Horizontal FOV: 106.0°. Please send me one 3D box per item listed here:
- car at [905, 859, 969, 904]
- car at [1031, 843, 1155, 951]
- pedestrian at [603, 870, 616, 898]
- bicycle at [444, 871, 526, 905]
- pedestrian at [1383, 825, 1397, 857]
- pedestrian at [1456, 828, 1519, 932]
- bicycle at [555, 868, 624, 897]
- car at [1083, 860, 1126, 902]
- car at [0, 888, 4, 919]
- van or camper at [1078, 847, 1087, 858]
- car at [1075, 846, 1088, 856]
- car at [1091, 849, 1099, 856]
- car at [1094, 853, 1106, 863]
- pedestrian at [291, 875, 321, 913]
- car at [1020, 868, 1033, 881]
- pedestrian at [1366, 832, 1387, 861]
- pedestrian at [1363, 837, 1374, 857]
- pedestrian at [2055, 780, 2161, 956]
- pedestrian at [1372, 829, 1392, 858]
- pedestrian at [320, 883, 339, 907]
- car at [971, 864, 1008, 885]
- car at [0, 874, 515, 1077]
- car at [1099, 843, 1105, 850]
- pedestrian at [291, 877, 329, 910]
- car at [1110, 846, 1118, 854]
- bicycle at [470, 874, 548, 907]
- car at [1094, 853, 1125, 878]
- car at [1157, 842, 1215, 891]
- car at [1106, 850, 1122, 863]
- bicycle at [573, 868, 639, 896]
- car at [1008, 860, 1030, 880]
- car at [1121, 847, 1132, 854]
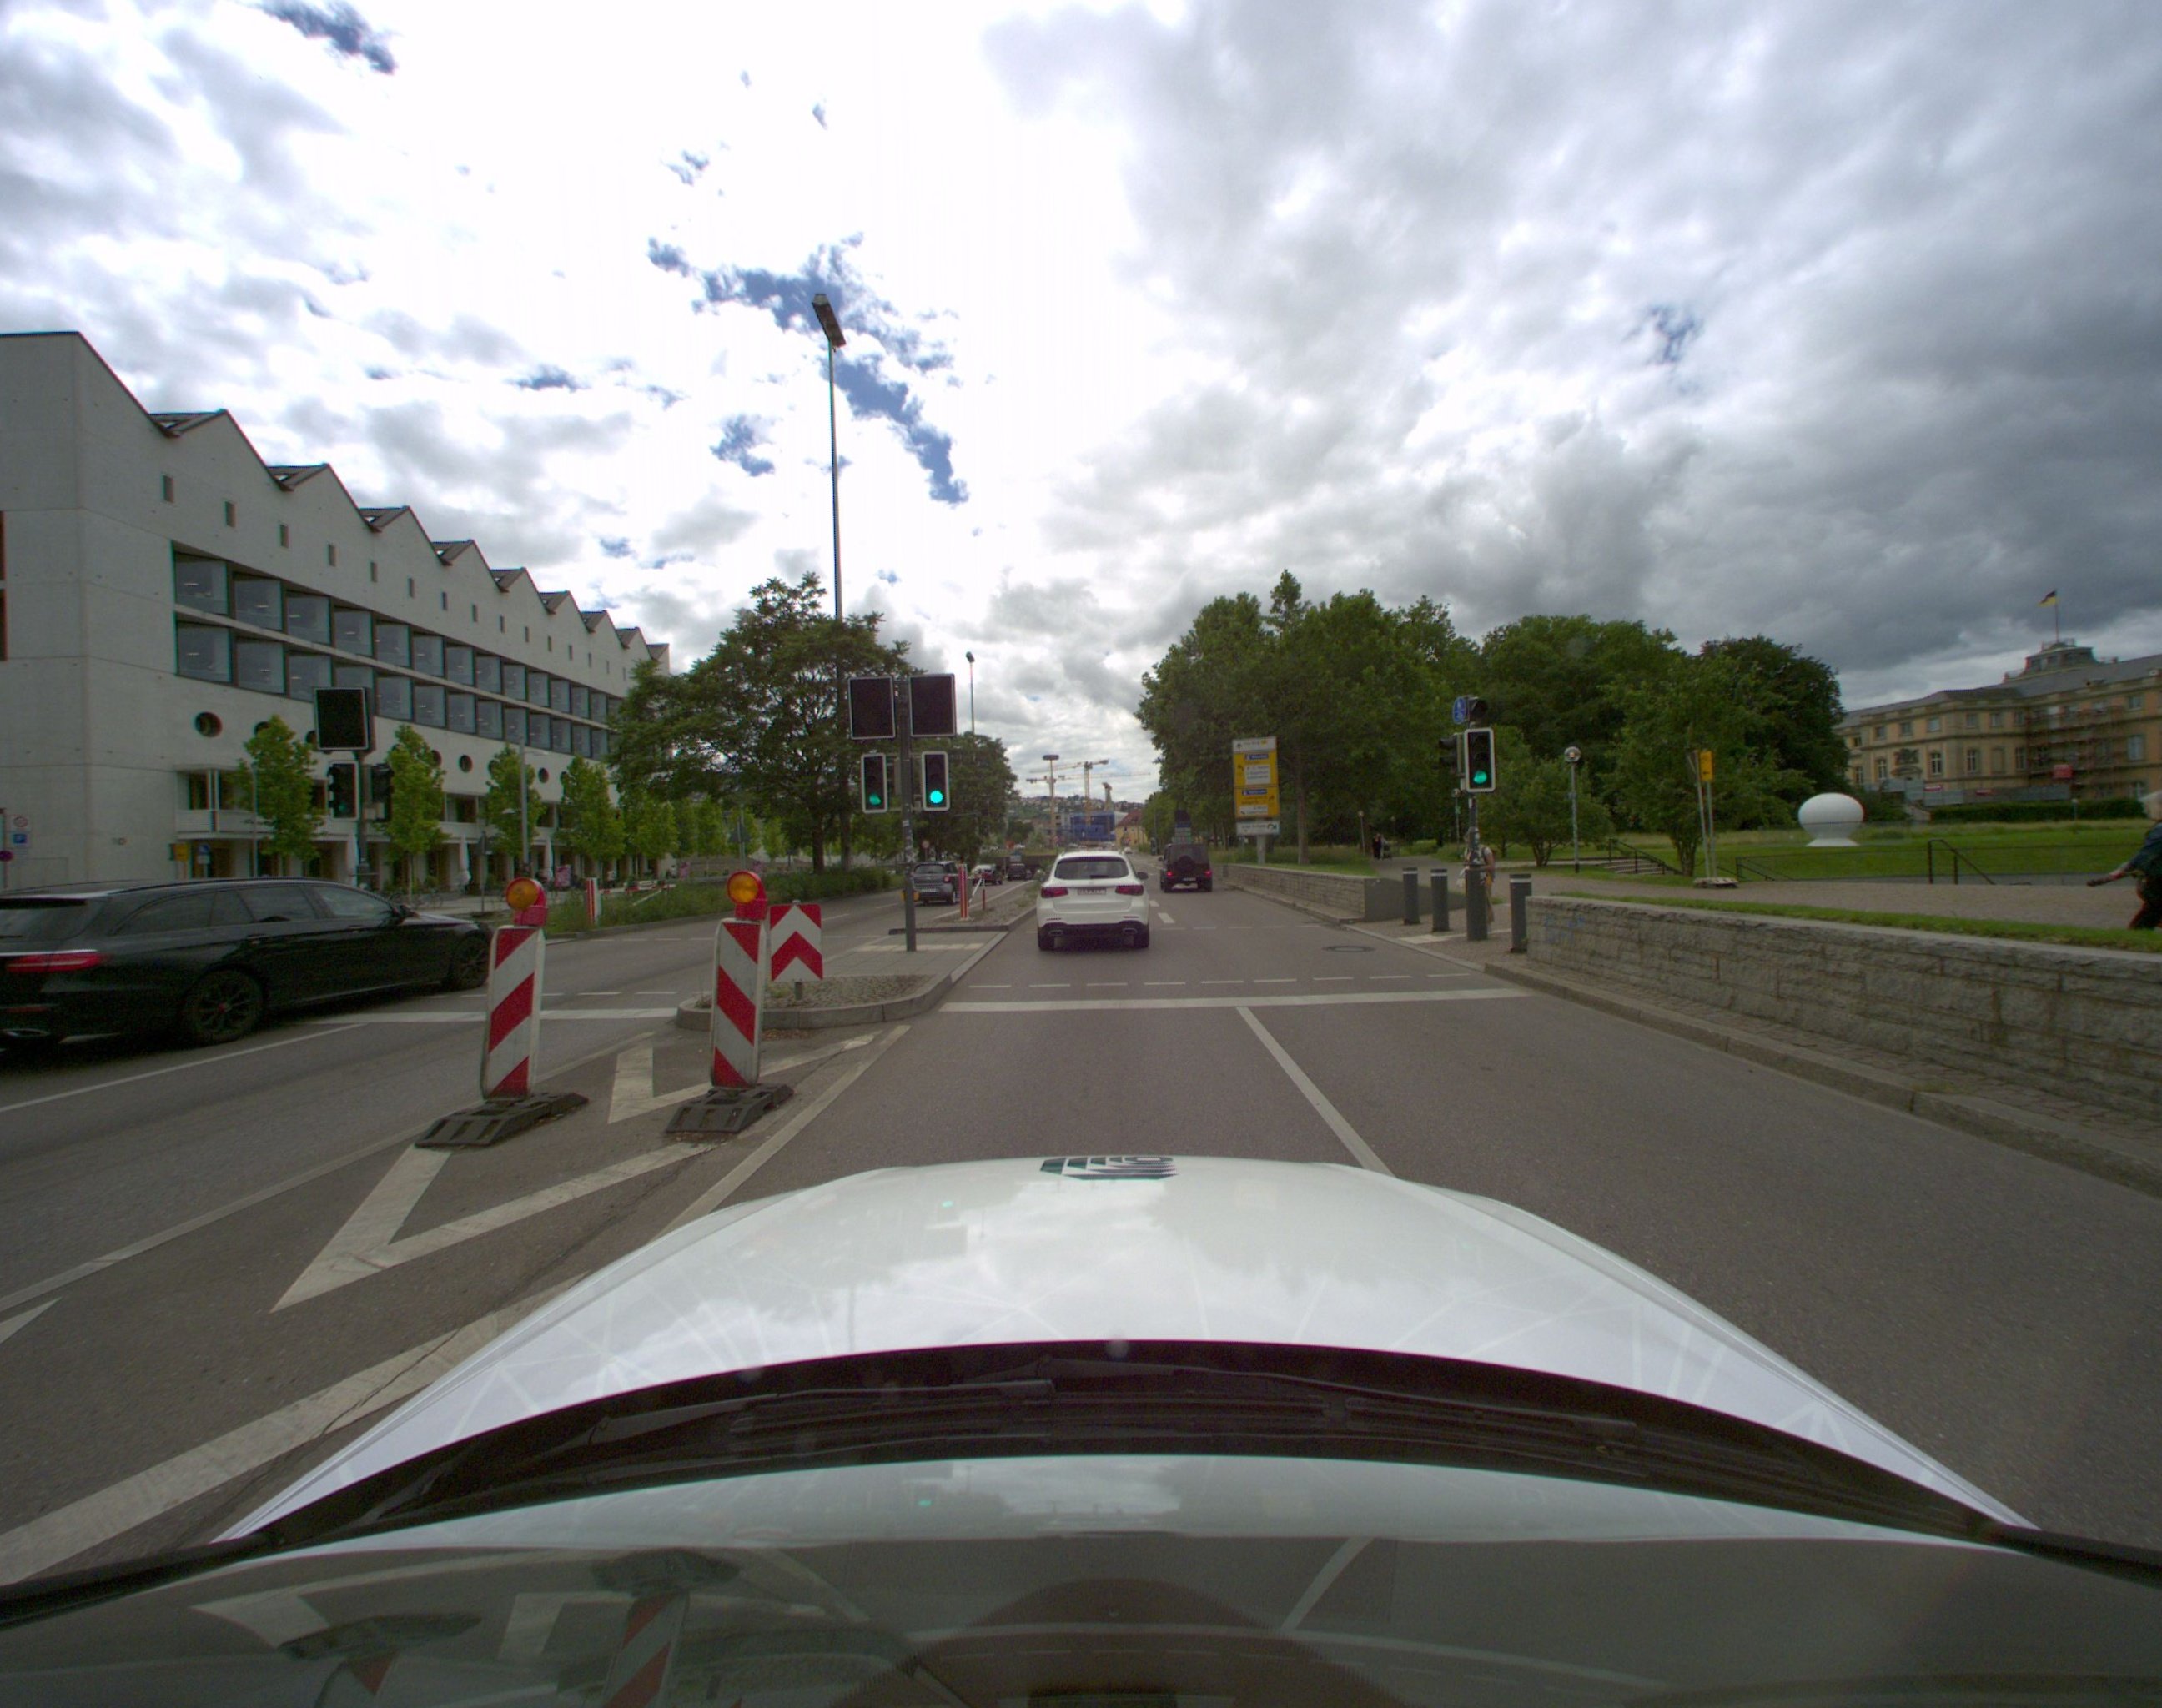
[{"bbox_3d":[-5.026,0.939,28.845,1.622,1.509,3.539,-1,-1,0],"label":"car"},{"bbox_3d":[0.177,0.703,14.765,1.935,1.684,3.998,0,-1,-1],"label":"car"},{"bbox_3d":[-35.812,2.280,61.831,0.716,2.013,0.731,-4,3,-34],"label":"pedestrian"},{"bbox_3d":[-33.032,1.889,45.180,3.603,1.684,1.182,-3,0,-2],"label":"bicycle"},{"bbox_3d":[19.998,-0.830,52.664,0.568,2.014,0.932,0,-1,1],"label":"pedestrian"},{"bbox_3d":[6.661,0.415,13.370,0.695,1.656,0.683,0,-1,-1],"label":"pedestrian"},{"bbox_3d":[-32.225,1.876,53.446,3.614,1.684,1.178,-3,0,-11],"label":"bicycle"},{"bbox_3d":[0.953,1.080,33.558,1.666,1.628,4.000,0,-1,1],"label":"car"},{"bbox_3d":[-45.792,1.952,32.195,3.974,1.276,1.751,1,-1,-1],"label":"car"},{"bbox_3d":[0.327,-0.262,180.462,1.916,2.320,3.998,-1,-2,0],"label":"van or camper"},{"bbox_3d":[0.104,-0.501,141.037,1.986,1.757,4.001,0,-1,1],"label":"car"},{"bbox_3d":[3.249,-0.261,186.861,1.714,1.584,3.997,0,0,-2],"label":"car"},{"bbox_3d":[3.380,0.669,143.772,1.987,1.781,3.999,0,-1,0],"label":"car"},{"bbox_3d":[-33.291,1.709,34.989,0.887,1.557,0.591,-2,-1,-43],"label":"pedestrian"},{"bbox_3d":[-7.094,2.622,106.509,1.715,1.584,3.995,0,0,-3],"label":"car"},{"bbox_3d":[17.710,-0.465,48.833,0.893,1.732,0.969,0,0,1],"label":"pedestrian"},{"bbox_3d":[19.464,-0.479,55.139,0.580,1.325,0.542,0,-2,1],"label":"pedestrian"},{"bbox_3d":[9.937,0.112,7.589,0.677,1.562,0.912,-2,0,17],"label":"pedestrian"},{"bbox_3d":[19.912,-0.691,53.881,0.993,1.836,1.030,0,-1,1],"label":"pedestrian"},{"bbox_3d":[-41.785,2.266,45.276,0.517,1.327,0.565,-3,-2,0],"label":"pedestrian"},{"bbox_3d":[-5.916,1.295,52.910,1.711,1.292,4.004,0,0,4],"label":"car"},{"bbox_3d":[-8.558,0.985,8.517,1.806,1.460,4.862,-2,-1,0],"label":"car"},{"bbox_3d":[6.554,-2.344,253.484,1.794,2.014,3.999,0,-1,0],"label":"car"},{"bbox_3d":[-36.938,1.871,39.026,1.094,1.568,0.761,0,-1,3],"label":"pedestrian"},{"bbox_3d":[7.411,-0.898,182.763,1.714,1.584,3.997,0,0,-2],"label":"car"},{"bbox_3d":[-33.335,2.120,47.528,3.603,1.684,1.182,-3,0,-2],"label":"bicycle"},{"bbox_3d":[1.862,0.731,54.530,1.916,1.602,3.999,-1,0,0],"label":"car"},{"bbox_3d":[4.315,0.531,34.097,1.970,1.893,4.708,0,-1,1],"label":"car"},{"bbox_3d":[4.517,0.359,110.582,1.987,1.662,3.999,0,-1,0],"label":"car"},{"bbox_3d":[-32.271,1.920,55.441,3.614,1.684,1.178,-3,0,-11],"label":"bicycle"},{"bbox_3d":[-5.419,1.361,71.426,1.714,1.678,3.997,0,0,-2],"label":"car"},{"bbox_3d":[10.545,-0.745,188.393,1.990,1.618,3.993,0,-1,-5],"label":"car"}]
